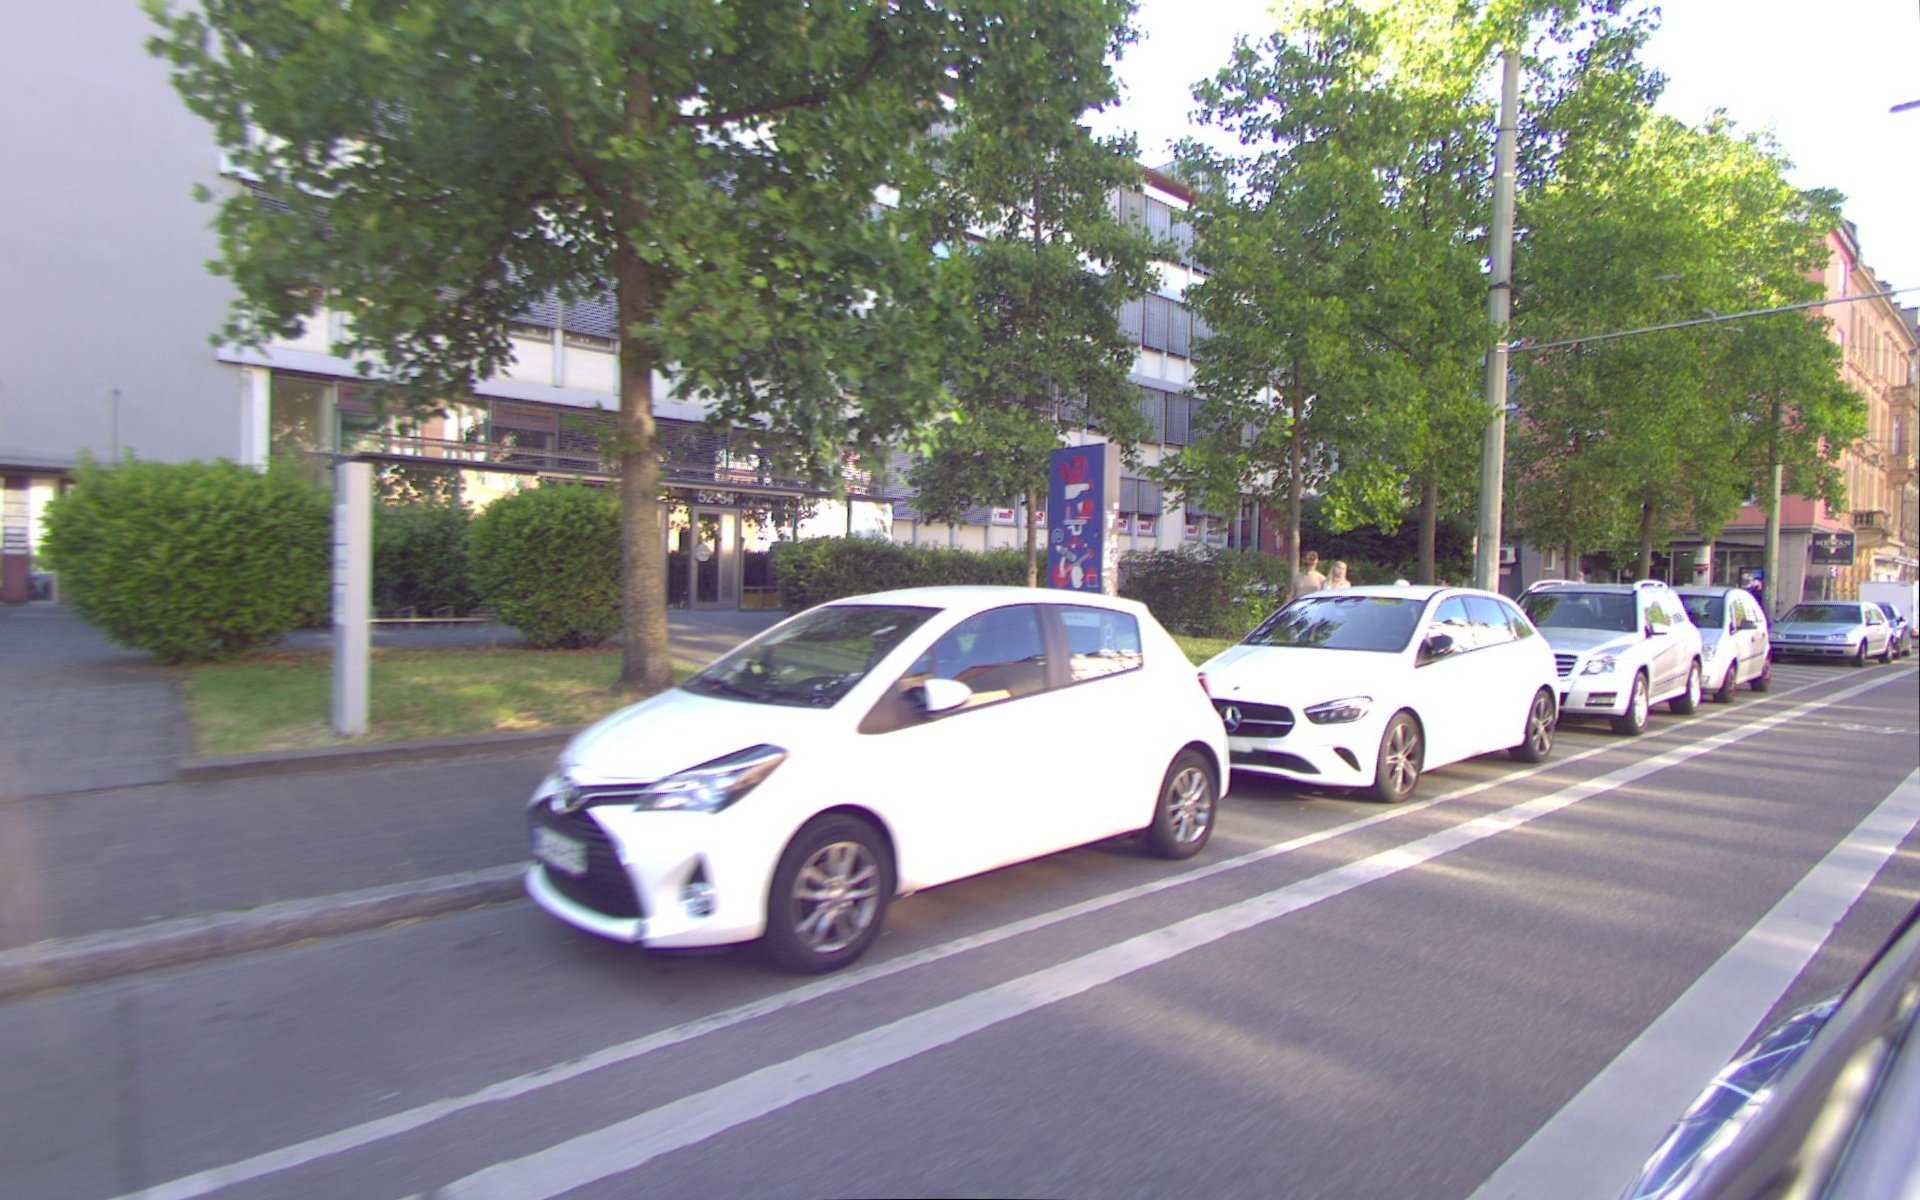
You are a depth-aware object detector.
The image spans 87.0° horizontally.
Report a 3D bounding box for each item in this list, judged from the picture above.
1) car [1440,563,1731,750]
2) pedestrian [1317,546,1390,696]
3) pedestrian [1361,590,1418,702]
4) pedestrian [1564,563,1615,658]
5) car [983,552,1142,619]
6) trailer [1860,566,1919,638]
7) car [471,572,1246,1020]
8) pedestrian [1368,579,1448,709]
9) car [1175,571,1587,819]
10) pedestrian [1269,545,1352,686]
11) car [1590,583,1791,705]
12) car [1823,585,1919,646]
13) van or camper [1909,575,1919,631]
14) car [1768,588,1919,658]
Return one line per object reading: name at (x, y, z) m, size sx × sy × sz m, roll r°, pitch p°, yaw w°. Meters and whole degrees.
car at (7.773, 0.581, 12.366) m, size 4.633 × 1.857 × 1.927 m, roll 1°, pitch 0°, yaw -44°
pedestrian at (5.392, 0.273, 13.874) m, size 0.733 × 1.977 × 0.467 m, roll 1°, pitch 4°, yaw -36°
pedestrian at (5.680, 0.592, 13.376) m, size 0.415 × 1.415 × 0.457 m, roll 1°, pitch 3°, yaw -36°
pedestrian at (12.510, 0.193, 20.123) m, size 0.591 × 1.830 × 0.613 m, roll 1°, pitch 2°, yaw -36°
car at (2.753, -0.355, 26.430) m, size 4.238 × 1.556 × 1.791 m, roll 2°, pitch 0°, yaw -44°
trailer at (29.500, 0.076, 31.496) m, size 3.774 × 2.144 × 1.664 m, roll 1°, pitch -1°, yaw -40°
car at (-0.242, 0.647, 5.223) m, size 3.820 × 1.462 × 1.603 m, roll 0°, pitch -1°, yaw -44°
pedestrian at (5.595, 0.532, 12.638) m, size 0.613 × 1.551 × 0.643 m, roll 2°, pitch 1°, yaw -37°
car at (3.750, 0.623, 8.567) m, size 4.367 × 1.590 × 1.543 m, roll 1°, pitch 0°, yaw -43°
pedestrian at (5.005, 0.203, 14.452) m, size 0.733 × 1.920 × 0.671 m, roll 1°, pitch 4°, yaw -36°
car at (11.176, 0.602, 15.384) m, size 3.995 × 1.611 × 1.716 m, roll 1°, pitch -1°, yaw -42°
car at (23.877, 0.395, 26.209) m, size 4.250 × 1.453 × 1.804 m, roll 0°, pitch -1°, yaw -43°
van or camper at (37.983, 0.121, 38.801) m, size 5.240 × 2.072 × 1.973 m, roll 1°, pitch -1°, yaw -43°
car at (20.297, 0.511, 23.175) m, size 4.233 × 1.461 × 1.755 m, roll 1°, pitch 0°, yaw -36°
